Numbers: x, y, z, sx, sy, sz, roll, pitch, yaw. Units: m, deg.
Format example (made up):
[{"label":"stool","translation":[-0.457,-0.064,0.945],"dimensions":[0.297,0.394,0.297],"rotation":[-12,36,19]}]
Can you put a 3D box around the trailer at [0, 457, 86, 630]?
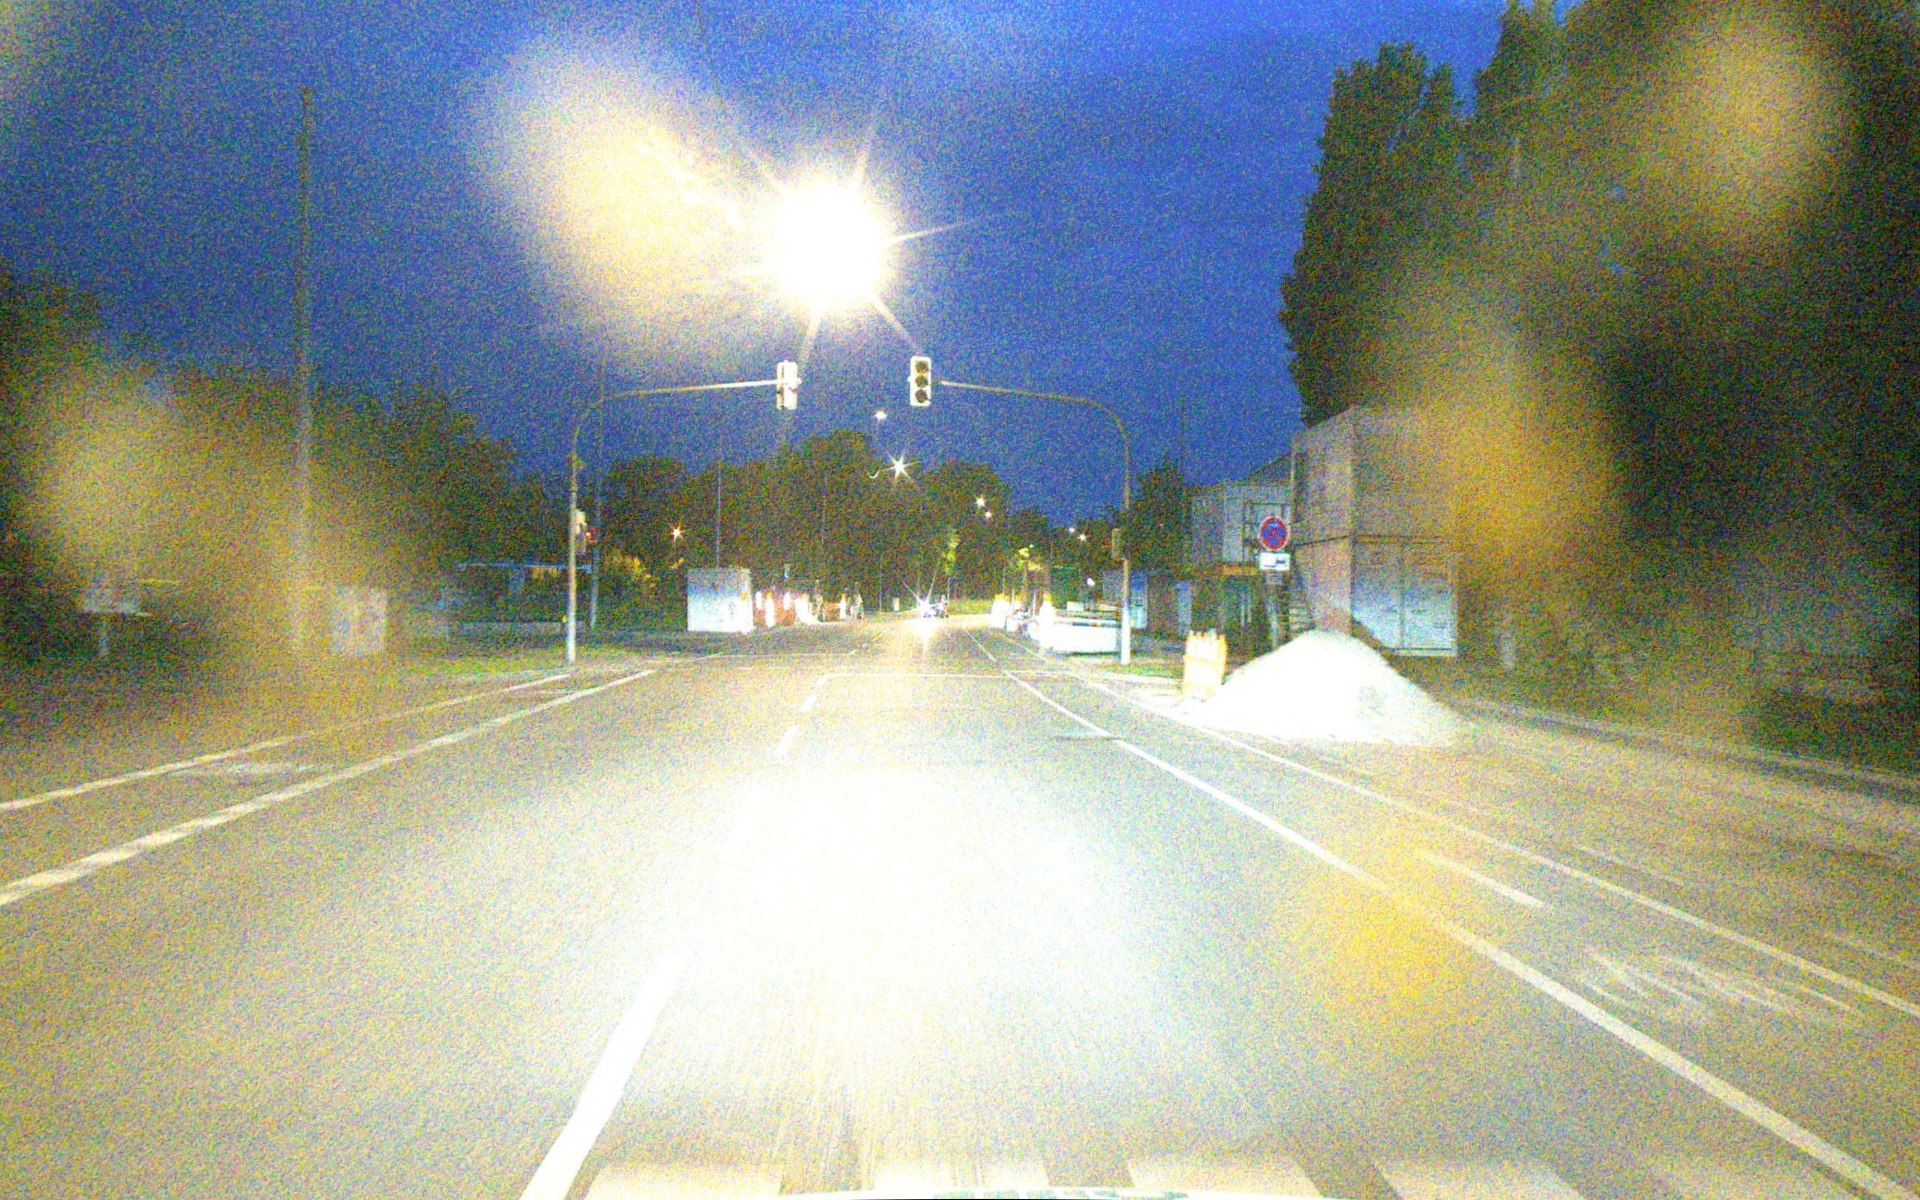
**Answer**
[{"label":"trailer","translation":[-27.681,-1.549,38.309],"dimensions":[2.995,4.433,15.006],"rotation":[2,0,19]}]

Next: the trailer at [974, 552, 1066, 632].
[{"label":"trailer","translation":[2.602,-0.314,73.042],"dimensions":[3.413,3.275,4.860],"rotation":[2,-1,-5]}]

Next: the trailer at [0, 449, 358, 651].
[{"label":"trailer","translation":[-19.455,-1.017,37.425],"dimensions":[2.993,4.001,15.014],"rotation":[2,0,14]}]

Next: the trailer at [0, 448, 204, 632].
[{"label":"trailer","translation":[-23.943,-1.443,36.926],"dimensions":[2.995,4.221,15.003],"rotation":[2,0,21]}]

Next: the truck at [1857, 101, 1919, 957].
[{"label":"truck","translation":[5.792,-0.329,2.866],"dimensions":[2.699,3.849,10.222],"rotation":[1,0,-2]}]

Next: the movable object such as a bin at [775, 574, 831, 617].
[{"label":"movable object such as a bin","translation":[-9.034,-0.240,95.555],"dimensions":[1.951,2.418,4.706],"rotation":[0,0,11]}]

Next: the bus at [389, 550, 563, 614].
[{"label":"bus","translation":[-26.539,-0.987,91.727],"dimensions":[2.949,3.260,12.681],"rotation":[1,0,16]}]

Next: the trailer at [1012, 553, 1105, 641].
[{"label":"trailer","translation":[3.405,-0.073,58.245],"dimensions":[2.562,2.895,4.704],"rotation":[2,-1,-5]}]

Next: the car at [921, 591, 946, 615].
[{"label":"car","translation":[-1.813,0.184,113.799],"dimensions":[1.662,1.604,2.956],"rotation":[-2,0,-1]}]

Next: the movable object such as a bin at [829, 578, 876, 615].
[{"label":"movable object such as a bin","translation":[-6.972,-0.219,108.023],"dimensions":[1.951,2.418,4.706],"rotation":[0,0,11]}]
